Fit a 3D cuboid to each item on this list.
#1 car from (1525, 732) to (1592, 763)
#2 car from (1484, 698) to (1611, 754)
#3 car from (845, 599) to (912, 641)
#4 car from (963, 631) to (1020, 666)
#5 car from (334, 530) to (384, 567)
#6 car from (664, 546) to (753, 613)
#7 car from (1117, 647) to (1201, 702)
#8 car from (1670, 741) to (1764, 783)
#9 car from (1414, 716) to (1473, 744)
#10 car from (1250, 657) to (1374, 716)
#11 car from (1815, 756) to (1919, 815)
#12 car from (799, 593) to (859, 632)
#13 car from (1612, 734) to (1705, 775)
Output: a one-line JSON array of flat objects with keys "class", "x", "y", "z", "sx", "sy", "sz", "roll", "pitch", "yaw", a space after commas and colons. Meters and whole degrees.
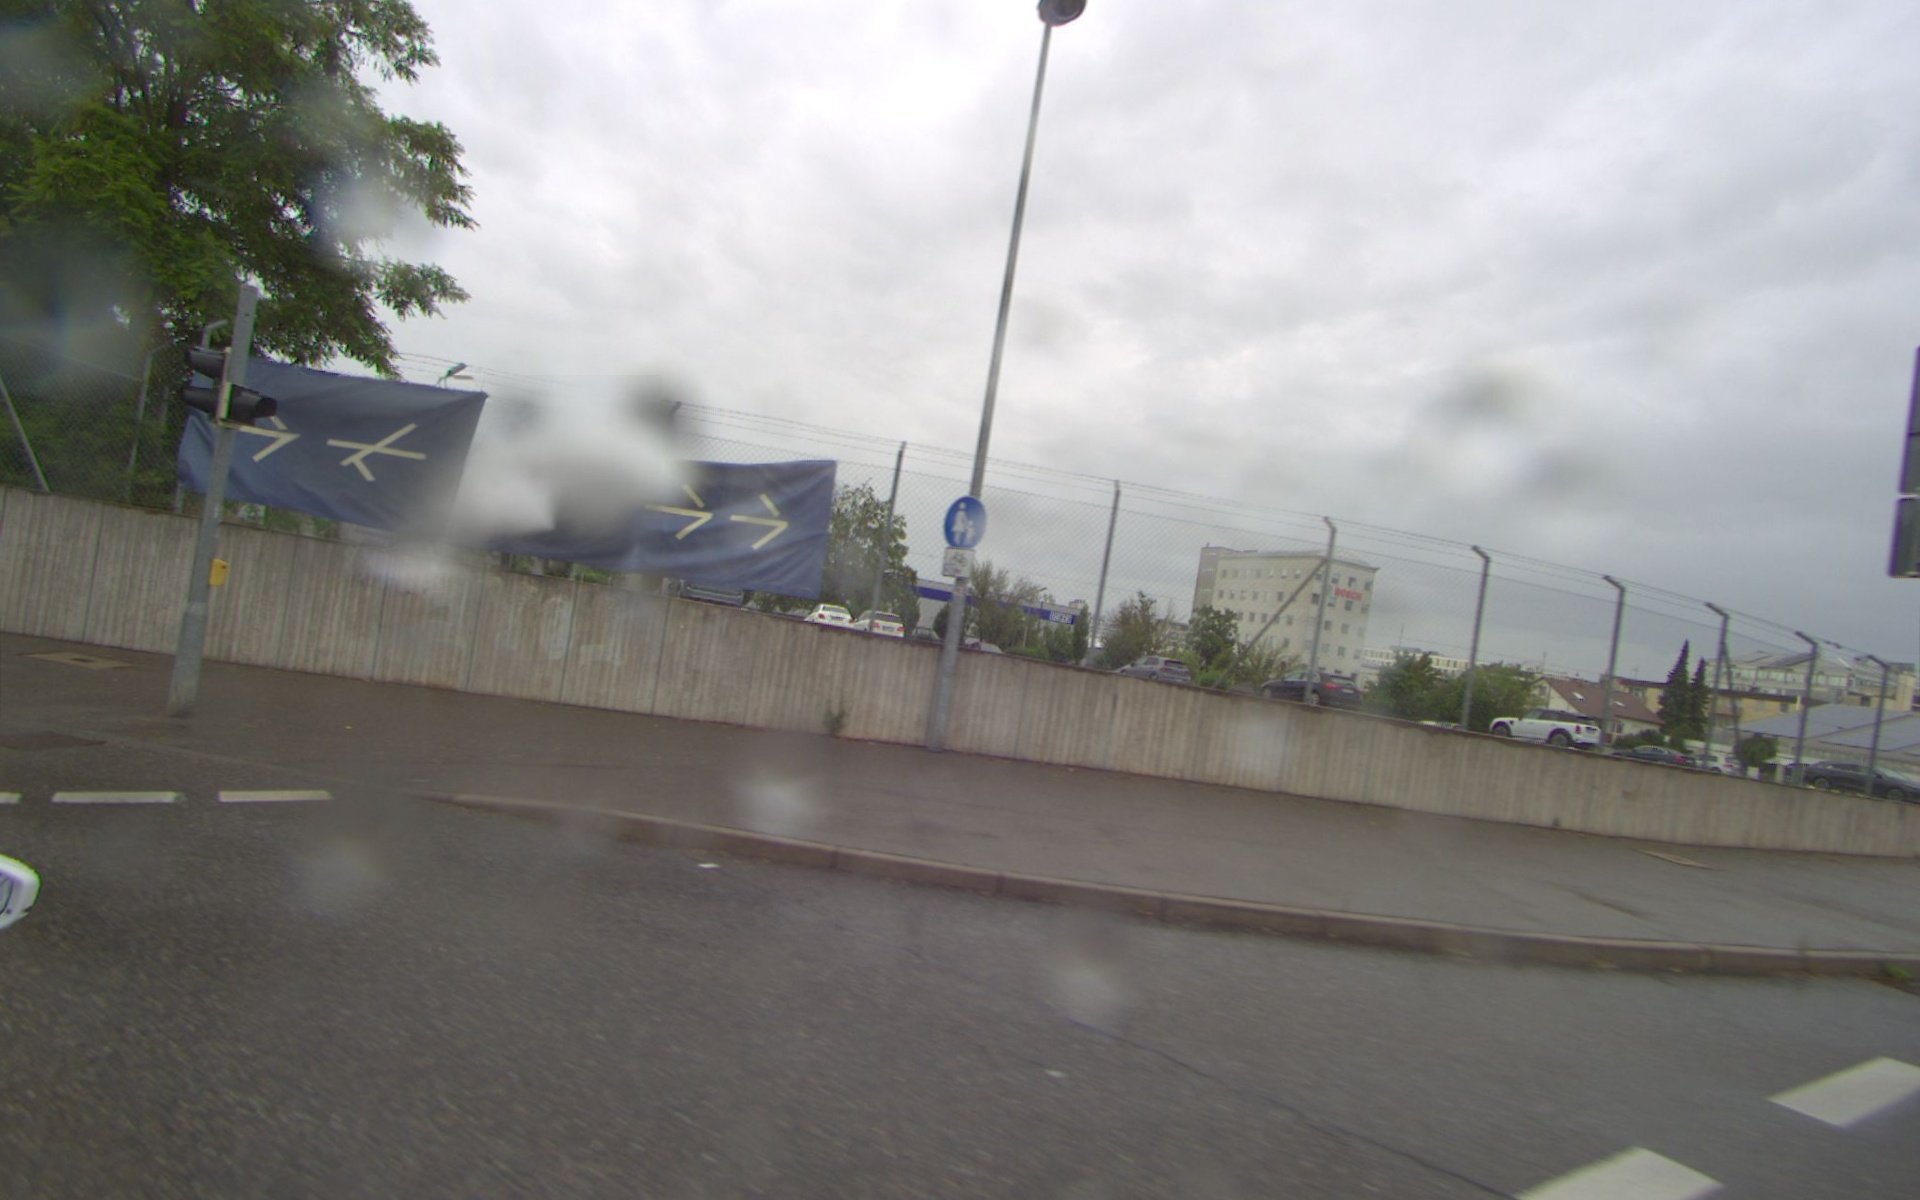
[{"class": "car", "x": 45.064, "y": 11.103, "z": 75.847, "sx": 1.823, "sy": 1.559, "sz": 3.982, "roll": 8, "pitch": -2, "yaw": -21}, {"class": "car", "x": 24.100, "y": 5.136, "z": 41.413, "sx": 1.691, "sy": 1.577, "sz": 4.164, "roll": 8, "pitch": -2, "yaw": -25}, {"class": "car", "x": -3.841, "y": 0.909, "z": 46.691, "sx": 1.839, "sy": 1.543, "sz": 4.084, "roll": 8, "pitch": -2, "yaw": -22}, {"class": "car", "x": 1.826, "y": 2.858, "z": 60.132, "sx": 1.903, "sy": 1.607, "sz": 3.771, "roll": 9, "pitch": -2, "yaw": -21}, {"class": "car", "x": -31.646, "y": -2.661, "z": 53.076, "sx": 1.651, "sy": 1.625, "sz": 3.512, "roll": 8, "pitch": -2, "yaw": -24}, {"class": "car", "x": -7.210, "y": -0.585, "z": 28.651, "sx": 1.726, "sy": 1.571, "sz": 3.512, "roll": 8, "pitch": -2, "yaw": -24}, {"class": "car", "x": 9.169, "y": 3.408, "z": 46.631, "sx": 1.726, "sy": 2.037, "sz": 3.803, "roll": 8, "pitch": -2, "yaw": -24}, {"class": "car", "x": 45.399, "y": 9.707, "z": 60.398, "sx": 1.971, "sy": 1.636, "sz": 3.986, "roll": 9, "pitch": -2, "yaw": -17}, {"class": "car", "x": 38.514, "y": 10.344, "z": 80.233, "sx": 1.823, "sy": 1.559, "sz": 3.982, "roll": 8, "pitch": -2, "yaw": -21}, {"class": "car", "x": 12.734, "y": 3.111, "z": 36.693, "sx": 1.691, "sy": 1.577, "sz": 4.164, "roll": 8, "pitch": -2, "yaw": -25}, {"class": "car", "x": 37.292, "y": 7.523, "z": 40.483, "sx": 1.904, "sy": 1.684, "sz": 3.885, "roll": 9, "pitch": -2, "yaw": -16}, {"class": "car", "x": -5.970, "y": 0.523, "z": 45.386, "sx": 1.797, "sy": 1.450, "sz": 4.088, "roll": 8, "pitch": -2, "yaw": -18}, {"class": "car", "x": 41.076, "y": 9.072, "z": 59.288, "sx": 1.971, "sy": 1.636, "sz": 3.986, "roll": 9, "pitch": -2, "yaw": -17}]
